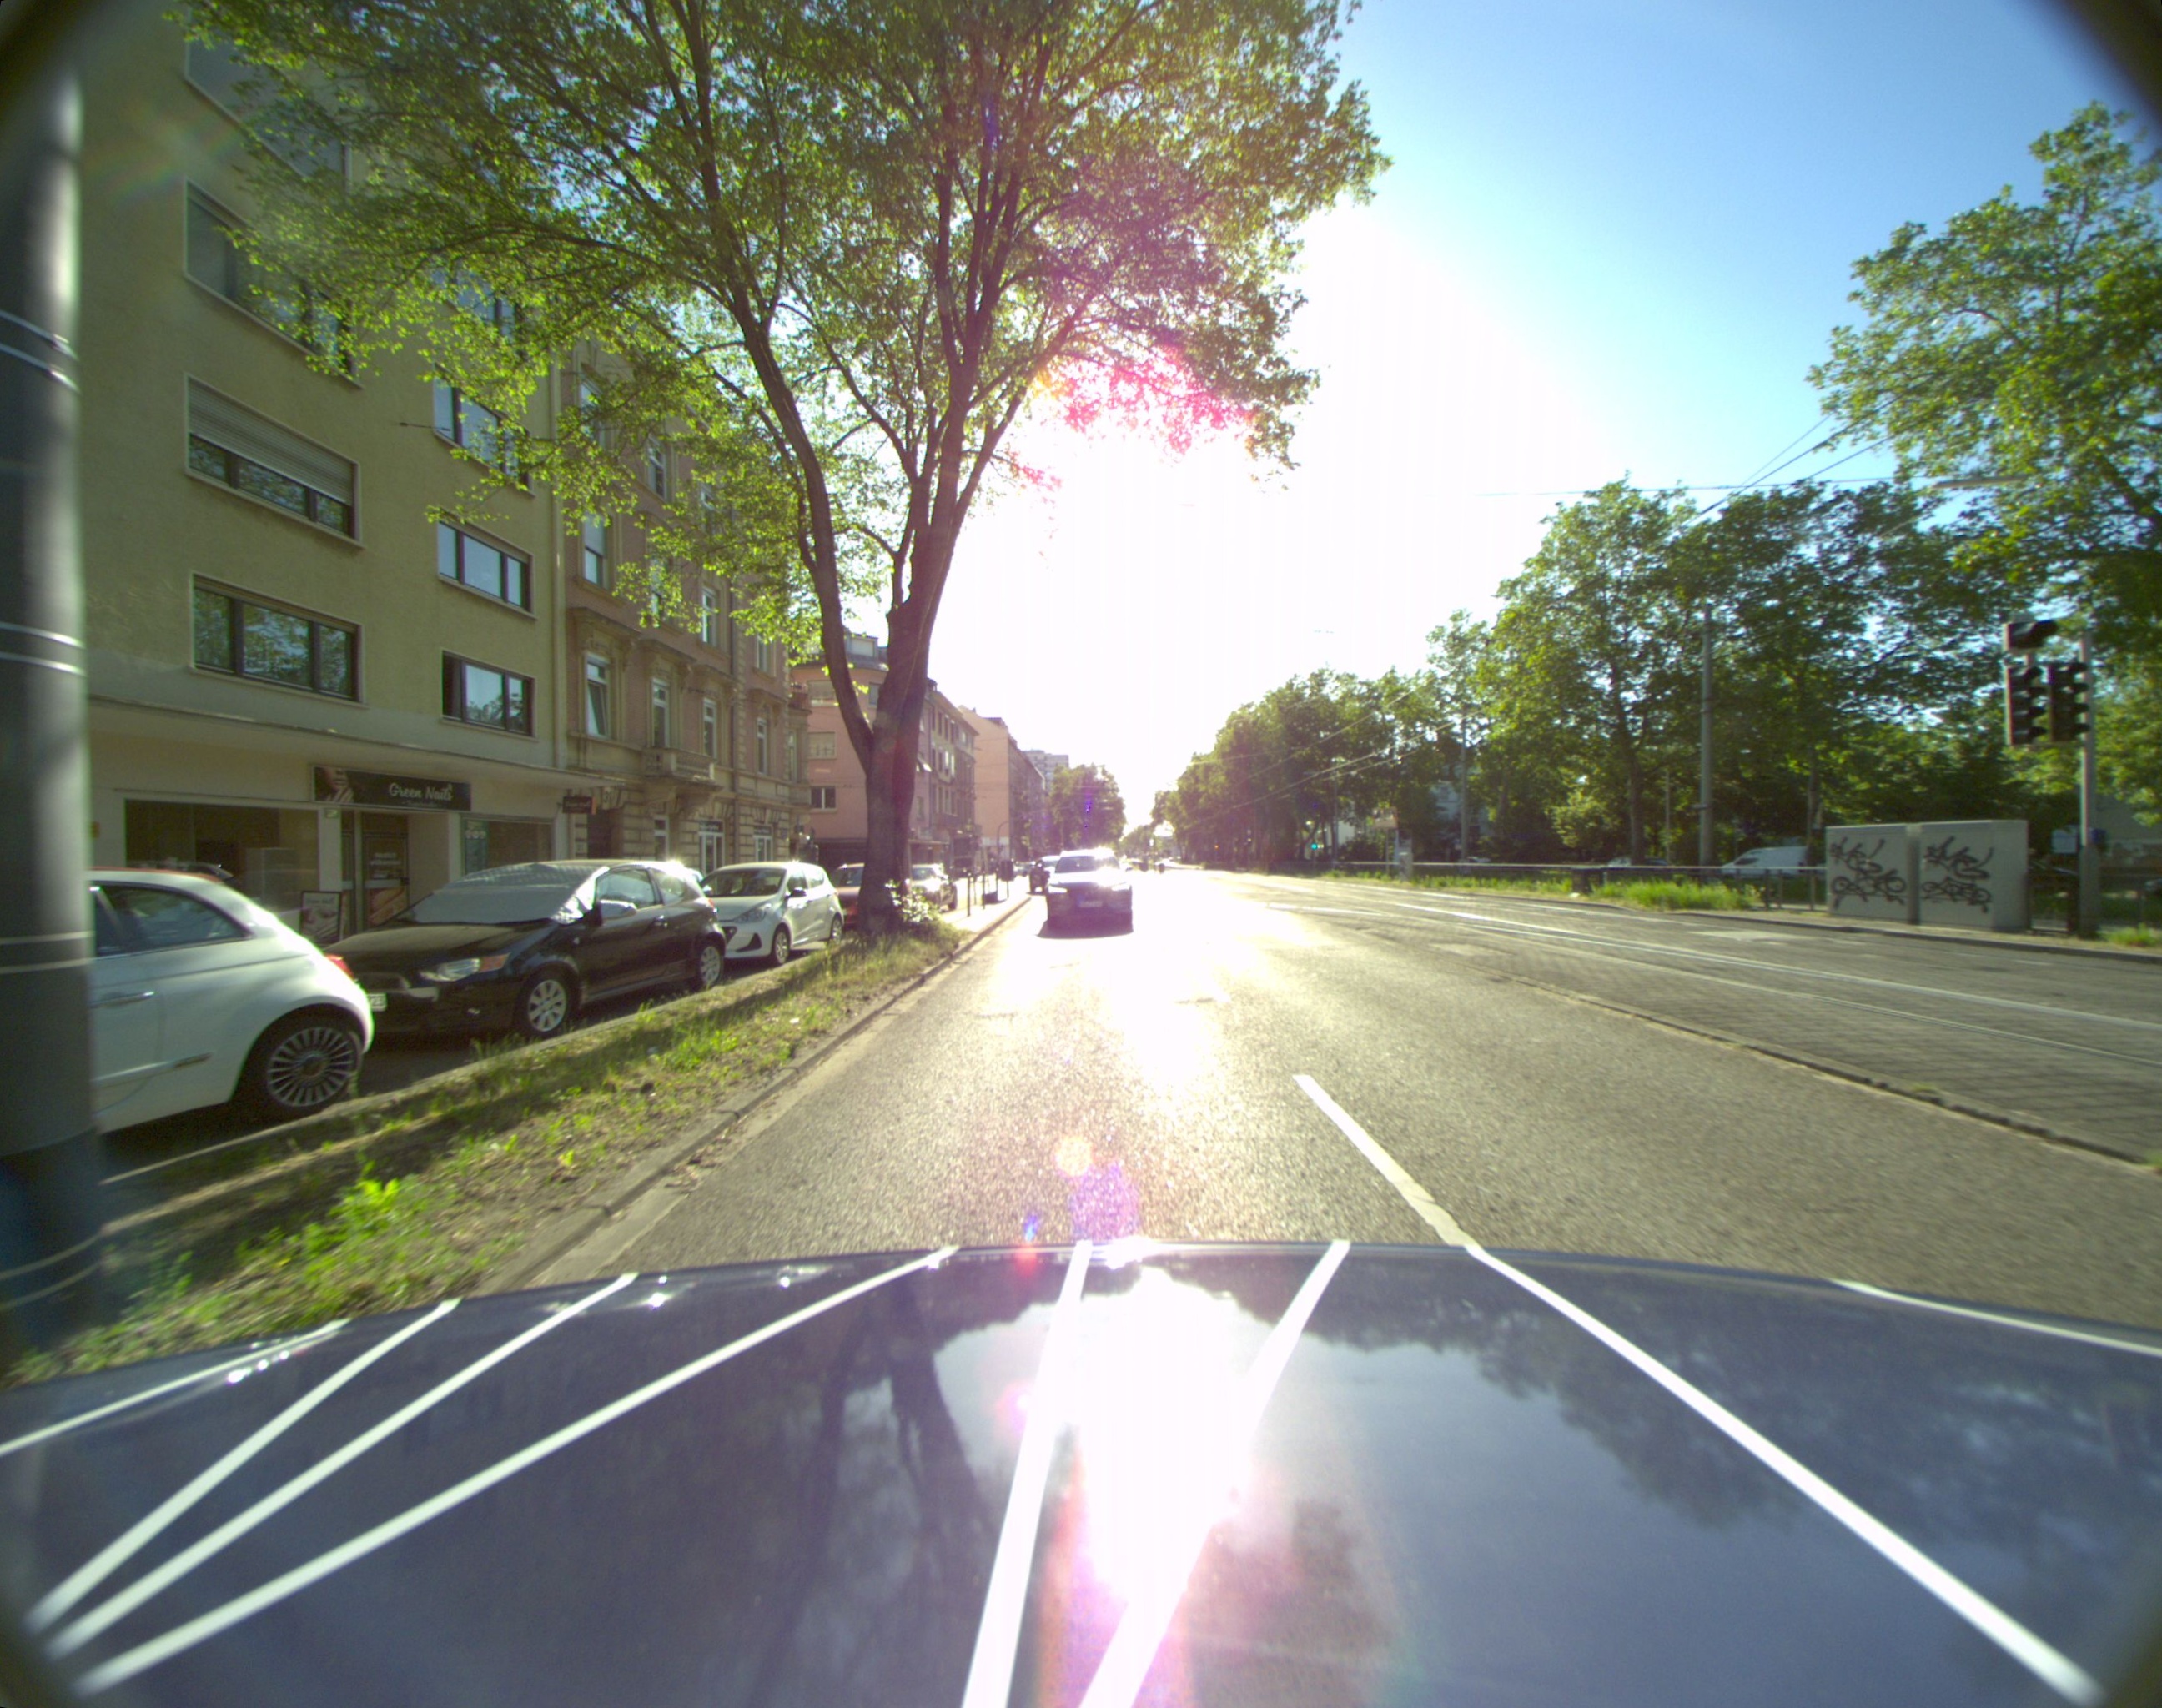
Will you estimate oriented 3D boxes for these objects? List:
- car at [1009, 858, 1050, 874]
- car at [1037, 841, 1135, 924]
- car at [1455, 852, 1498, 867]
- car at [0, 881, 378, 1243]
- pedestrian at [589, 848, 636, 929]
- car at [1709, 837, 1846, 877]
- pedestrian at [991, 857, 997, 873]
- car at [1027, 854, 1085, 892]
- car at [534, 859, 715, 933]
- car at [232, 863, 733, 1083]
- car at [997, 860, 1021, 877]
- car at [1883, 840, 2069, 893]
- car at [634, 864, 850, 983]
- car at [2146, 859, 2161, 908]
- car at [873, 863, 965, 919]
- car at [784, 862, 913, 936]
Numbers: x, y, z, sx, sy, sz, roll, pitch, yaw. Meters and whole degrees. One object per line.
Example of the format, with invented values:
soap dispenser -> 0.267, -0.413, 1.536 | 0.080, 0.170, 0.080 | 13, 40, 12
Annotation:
car -> -5.342, 1.221, 79.413 | 1.812, 1.442, 4.008 | -3, 0, 43
car -> 0.163, 0.610, 17.860 | 1.968, 1.664, 4.001 | -3, 0, 1
car -> 28.950, 0.402, 55.730 | 1.503, 1.043, 3.129 | -3, 0, 1
car -> -5.342, 0.933, 3.075 | 1.515, 1.471, 3.493 | -3, 0, 5
pedestrian -> -11.908, 0.861, 19.328 | 0.513, 2.002, 0.852 | -3, 0, 5
car -> 28.605, 0.116, 31.407 | 1.745, 1.462, 4.347 | -3, 0, 3
pedestrian -> -9.362, 1.205, 81.939 | 0.495, 1.752, 0.660 | -1, 1, 2
car -> -1.149, 0.800, 33.145 | 1.662, 1.473, 3.967 | -3, 0, -14
car -> -10.087, 0.862, 17.177 | 1.697, 1.471, 4.000 | 0, 0, 0
car -> -5.120, 0.871, 7.269 | 1.565, 1.476, 3.788 | -3, 0, 4
car -> -6.686, 1.338, 71.122 | 1.739, 1.510, 4.001 | 1, 0, 1
car -> 28.216, 0.380, 24.165 | 1.595, 1.462, 3.823 | -3, 0, 6
car -> -4.993, 0.927, 11.774 | 1.630, 1.468, 3.697 | -3, 0, 0
car -> 27.681, 0.726, 17.317 | 1.624, 1.214, 3.763 | -1, 0, 3
car -> -4.717, 1.037, 22.688 | 1.700, 1.413, 4.170 | -3, 0, 2
car -> -5.177, 0.951, 17.480 | 1.593, 1.426, 3.906 | -3, 0, 2
